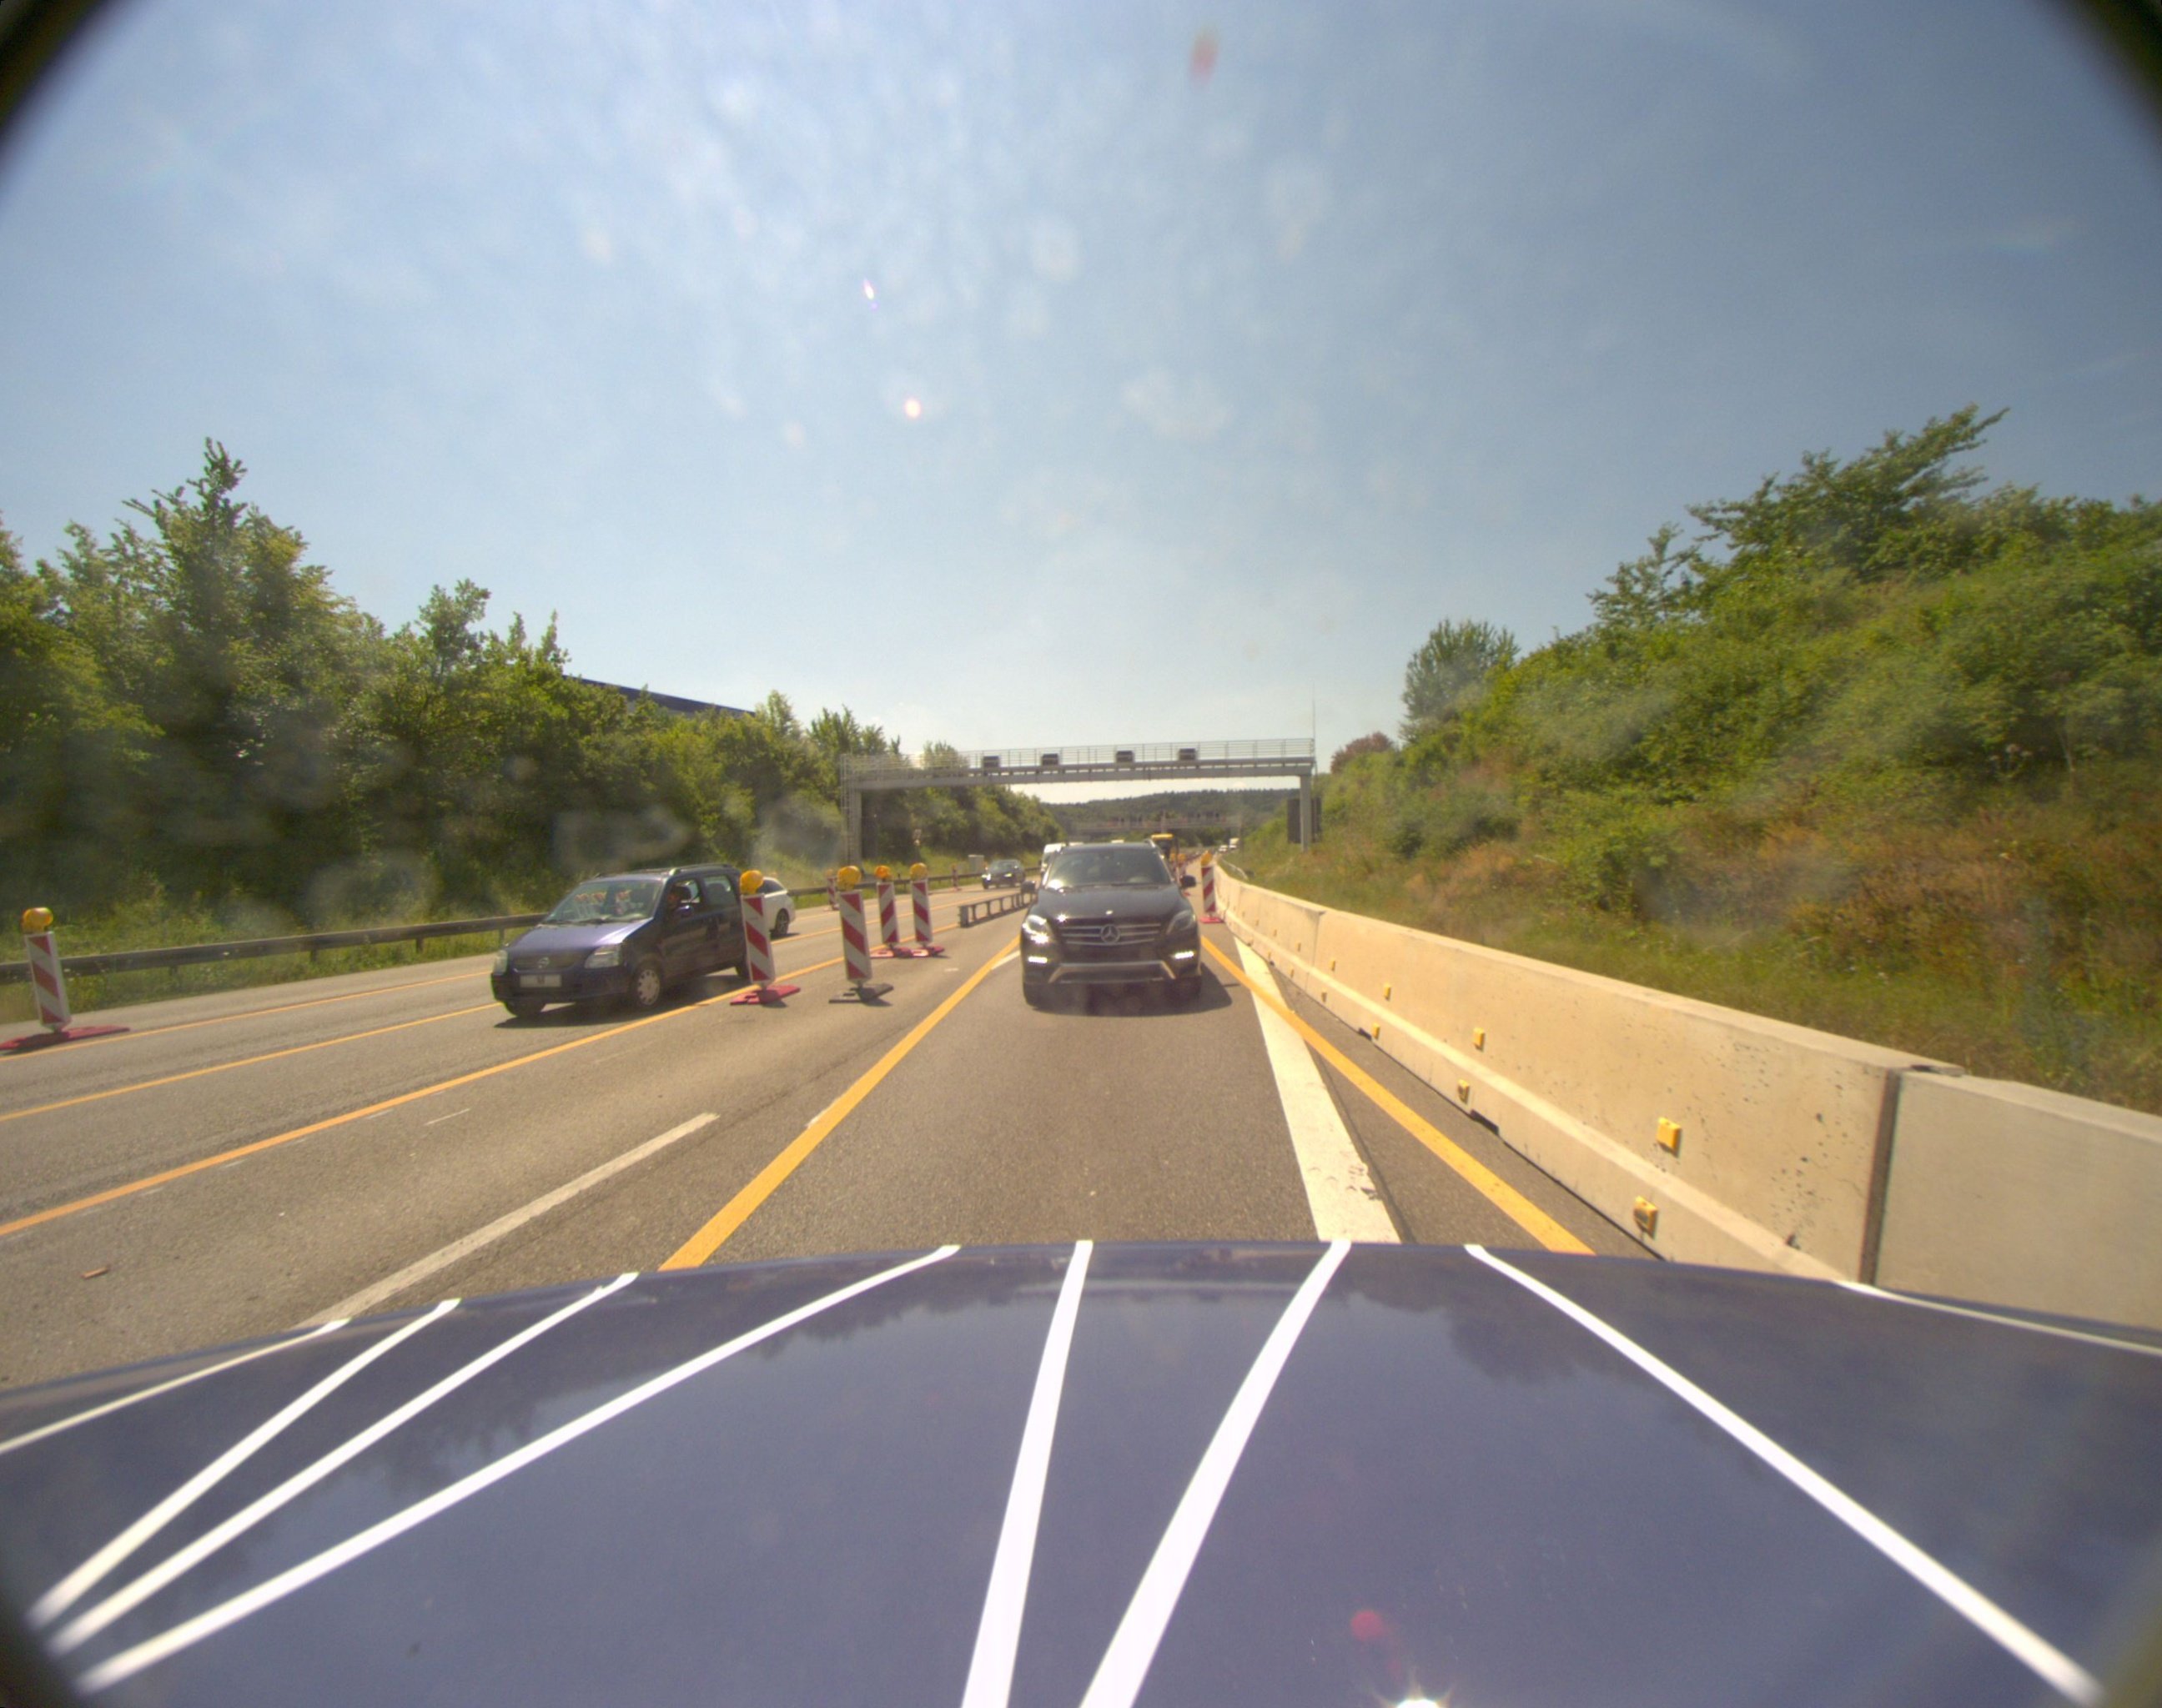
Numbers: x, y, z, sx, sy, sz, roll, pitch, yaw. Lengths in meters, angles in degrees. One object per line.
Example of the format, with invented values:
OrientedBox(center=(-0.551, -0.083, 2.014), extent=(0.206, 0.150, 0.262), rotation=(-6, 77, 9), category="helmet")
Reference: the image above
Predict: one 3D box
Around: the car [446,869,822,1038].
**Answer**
OrientedBox(center=(-5.564, 1.118, 10.368), extent=(1.818, 1.633, 4.655), rotation=(-2, 0, 9), category="car")

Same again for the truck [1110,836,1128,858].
OrientedBox(center=(6.978, -1.270, 139.416), extent=(2.532, 3.927, 5.602), rotation=(-3, 0, 8), category="truck")

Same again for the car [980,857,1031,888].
OrientedBox(center=(-4.504, 1.084, 45.973), extent=(2.023, 1.653, 5.239), rotation=(-2, 0, 6), category="car")

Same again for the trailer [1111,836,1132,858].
OrientedBox(center=(7.916, -1.291, 145.907), extent=(2.545, 3.929, 13.877), rotation=(-3, 0, 8), category="trailer")

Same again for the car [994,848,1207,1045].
OrientedBox(center=(0.348, 0.811, 8.936), extent=(1.819, 1.685, 4.495), rotation=(-2, 0, 5), category="car")

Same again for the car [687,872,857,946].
OrientedBox(center=(-7.649, 1.299, 19.413), extent=(1.818, 1.456, 4.655), rotation=(-2, 0, 9), category="car")

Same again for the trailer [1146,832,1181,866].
OrientedBox(center=(10.337, -0.531, 93.435), extent=(3.234, 3.645, 17.436), rotation=(-2, -1, 9), category="trailer")

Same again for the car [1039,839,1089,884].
OrientedBox(center=(-0.947, 0.447, 47.196), extent=(2.270, 2.521, 6.587), rotation=(-2, 0, 6), category="car")

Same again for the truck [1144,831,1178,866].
OrientedBox(center=(8.989, -0.599, 84.963), extent=(3.227, 3.639, 7.088), rotation=(-2, -1, 9), category="truck")
